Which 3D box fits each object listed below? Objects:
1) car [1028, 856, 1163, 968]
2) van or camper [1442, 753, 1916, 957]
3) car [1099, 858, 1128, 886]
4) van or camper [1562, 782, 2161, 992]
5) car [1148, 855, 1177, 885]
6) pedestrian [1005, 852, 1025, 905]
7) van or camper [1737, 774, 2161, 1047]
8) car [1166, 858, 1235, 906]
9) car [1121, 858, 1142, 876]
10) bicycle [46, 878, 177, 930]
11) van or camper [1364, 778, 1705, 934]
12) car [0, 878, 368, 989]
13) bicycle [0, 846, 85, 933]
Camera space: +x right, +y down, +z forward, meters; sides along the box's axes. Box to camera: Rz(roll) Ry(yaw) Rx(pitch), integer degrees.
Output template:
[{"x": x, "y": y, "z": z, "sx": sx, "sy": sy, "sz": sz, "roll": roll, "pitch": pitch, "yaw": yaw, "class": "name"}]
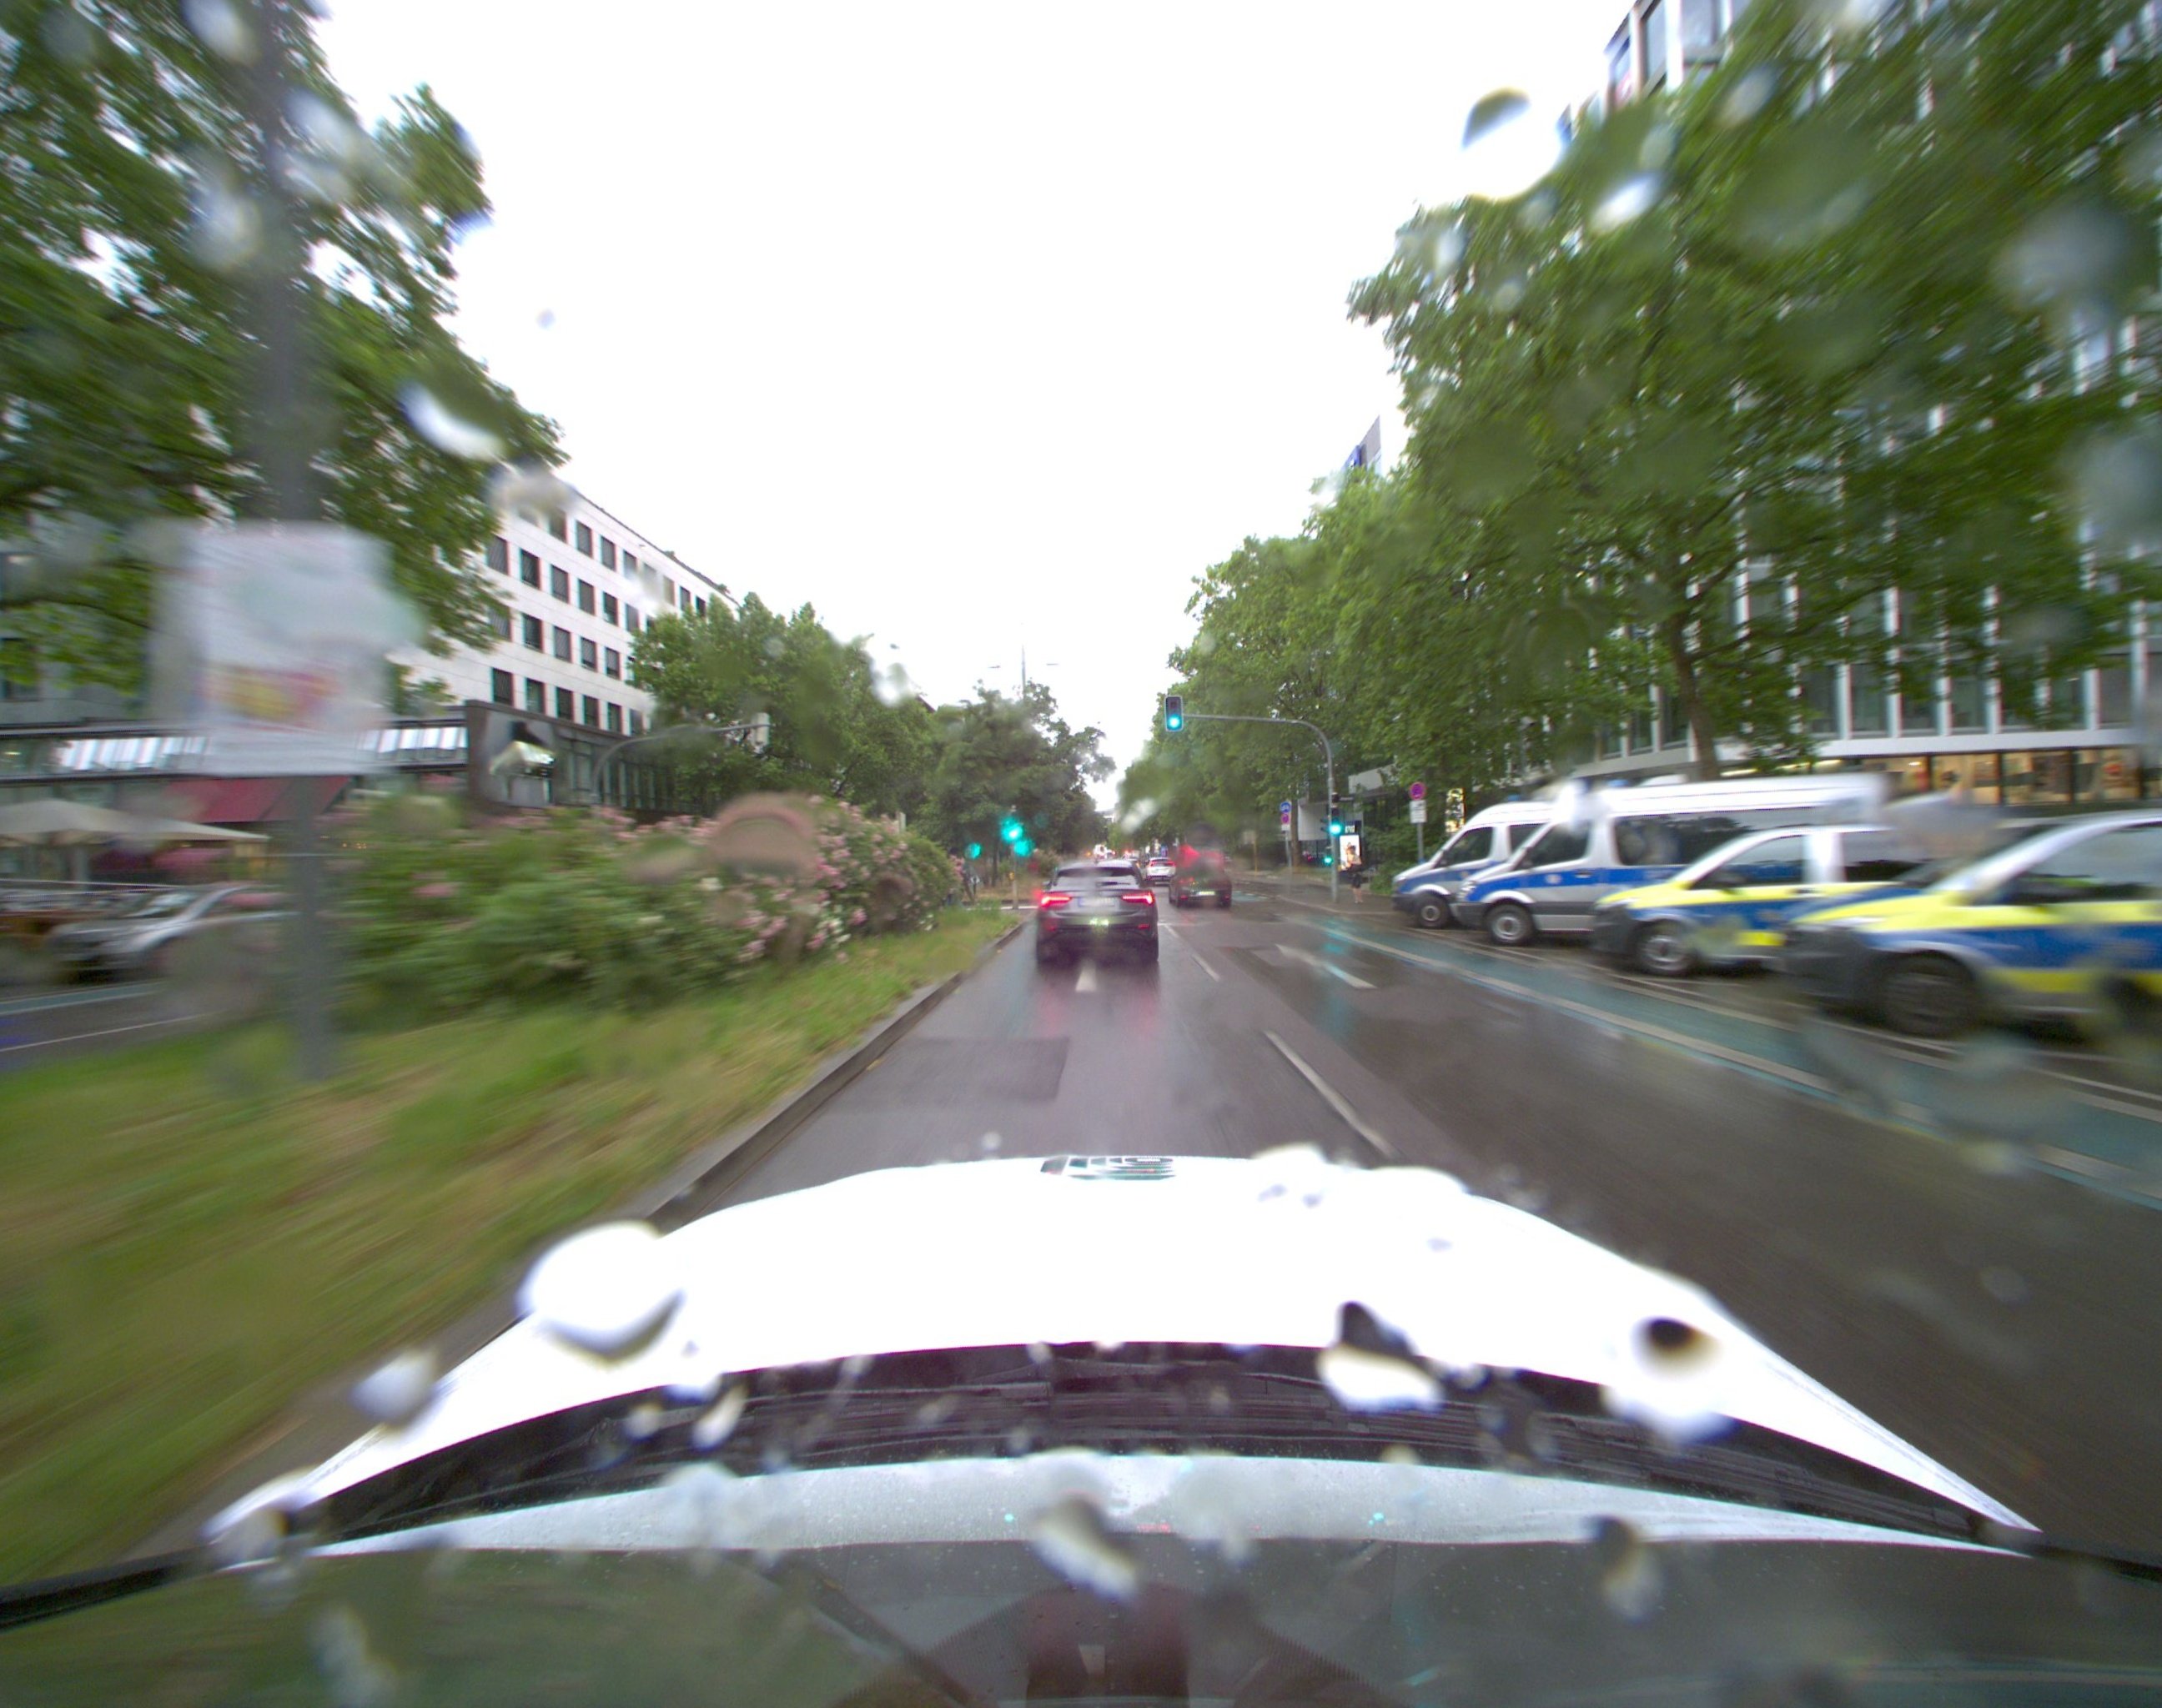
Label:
[{"x": 0.318, "y": 0.823, "z": 13.732, "sx": 1.855, "sy": 1.532, "sz": 4.530, "roll": -2, "pitch": 0, "yaw": 3, "class": "car"}, {"x": 9.214, "y": 0.078, "z": 13.220, "sx": 5.736, "sy": 2.680, "sz": 2.013, "roll": -2, "pitch": -1, "yaw": 37, "class": "van or camper"}, {"x": 1.988, "y": 1.087, "z": 50.930, "sx": 1.715, "sy": 1.577, "sz": 3.963, "roll": -2, "pitch": 0, "yaw": 1, "class": "car"}, {"x": 8.971, "y": 0.403, "z": 10.075, "sx": 4.951, "sy": 2.014, "sz": 2.013, "roll": -2, "pitch": -2, "yaw": 37, "class": "van or camper"}, {"x": 4.805, "y": 0.914, "z": 48.220, "sx": 1.428, "sy": 1.685, "sz": 2.980, "roll": -2, "pitch": 0, "yaw": 2, "class": "car"}, {"x": -2.190, "y": 0.806, "z": 26.811, "sx": 0.573, "sy": 1.698, "sz": 0.403, "roll": -2, "pitch": -1, "yaw": -11, "class": "pedestrian"}, {"x": 8.692, "y": 0.413, "z": 6.580, "sx": 5.142, "sy": 1.992, "sz": 2.013, "roll": -1, "pitch": -1, "yaw": 36, "class": "van or camper"}, {"x": 3.922, "y": 0.883, "z": 27.236, "sx": 1.759, "sy": 1.413, "sz": 4.001, "roll": -2, "pitch": 0, "yaw": 1, "class": "car"}, {"x": 5.087, "y": 1.311, "z": 82.908, "sx": 1.986, "sy": 1.750, "sz": 4.002, "roll": -2, "pitch": 0, "yaw": 2, "class": "car"}, {"x": -25.537, "y": 1.298, "z": 21.480, "sx": 2.383, "sy": 1.246, "sz": 0.688, "roll": -2, "pitch": 0, "yaw": -7, "class": "bicycle"}, {"x": 9.081, "y": 0.085, "z": 16.657, "sx": 5.741, "sy": 2.677, "sz": 2.161, "roll": -2, "pitch": -1, "yaw": 39, "class": "van or camper"}, {"x": -15.894, "y": 1.283, "z": 14.722, "sx": 1.987, "sy": 1.509, "sz": 4.517, "roll": -2, "pitch": 0, "yaw": 0, "class": "car"}, {"x": -25.386, "y": 0.855, "z": 19.402, "sx": 2.379, "sy": 2.013, "sz": 0.689, "roll": -2, "pitch": 0, "yaw": -1, "class": "bicycle"}]
